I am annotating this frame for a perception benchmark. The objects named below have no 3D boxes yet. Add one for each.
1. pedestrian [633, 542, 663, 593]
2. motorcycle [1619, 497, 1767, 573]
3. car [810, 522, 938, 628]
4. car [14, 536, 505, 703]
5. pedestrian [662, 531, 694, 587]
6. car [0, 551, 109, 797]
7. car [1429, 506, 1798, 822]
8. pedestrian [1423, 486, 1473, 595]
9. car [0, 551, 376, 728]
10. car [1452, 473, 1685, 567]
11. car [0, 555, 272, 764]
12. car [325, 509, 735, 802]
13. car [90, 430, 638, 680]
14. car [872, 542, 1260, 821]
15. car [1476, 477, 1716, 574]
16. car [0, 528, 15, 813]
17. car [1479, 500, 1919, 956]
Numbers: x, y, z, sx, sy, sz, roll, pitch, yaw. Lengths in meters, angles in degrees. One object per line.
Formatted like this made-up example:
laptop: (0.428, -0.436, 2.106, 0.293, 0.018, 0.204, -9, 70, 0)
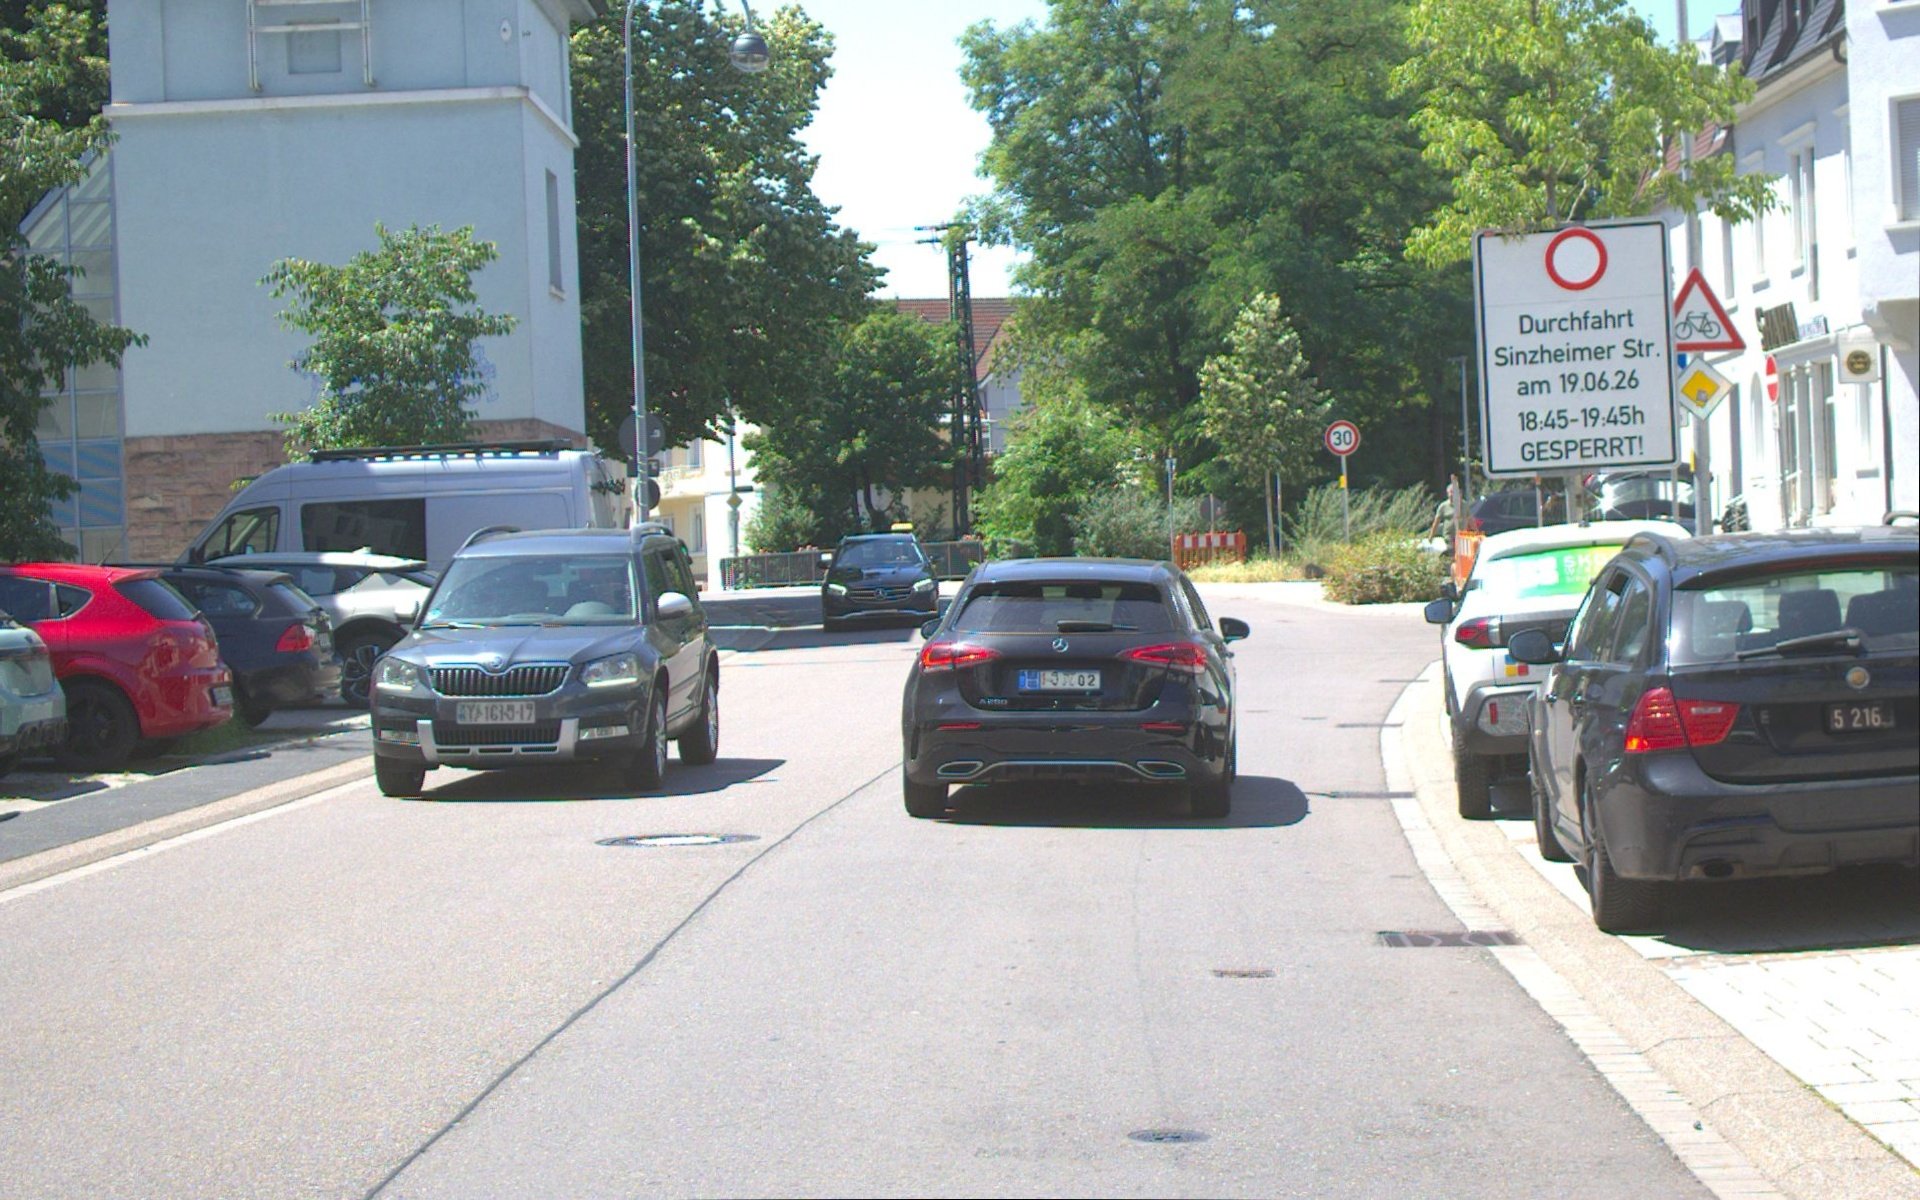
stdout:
pedestrian: (-9.918, -1.027, 109.137, 0.614, 1.607, 0.838, -2, 0, -28)
motorcycle: (12.710, -1.128, 59.672, 2.377, 1.271, 0.856, -1, 1, 2)
car: (-1.338, -0.440, 55.491, 1.893, 1.548, 4.799, -1, 2, 0)
car: (-6.946, 0.182, 34.398, 4.454, 1.586, 2.000, 0, 1, 2)
pedestrian: (-8.921, -1.288, 108.634, 0.661, 1.735, 0.702, -2, 0, -40)
car: (-7.763, 0.454, 22.063, 4.033, 1.491, 2.000, 0, 1, 5)
car: (3.574, 0.303, 19.411, 1.738, 1.481, 4.053, -4, 0, 8)
pedestrian: (8.219, -1.005, 57.870, 0.746, 1.790, 0.843, -2, 2, 10)
car: (-7.210, 0.317, 29.199, 4.199, 1.433, 1.886, 0, 1, -2)
car: (11.506, -1.503, 65.171, 4.075, 1.710, 1.856, -1, 1, 1)
car: (-7.209, 0.409, 24.731, 4.033, 1.425, 2.000, 0, 1, 5)
car: (-2.711, 0.314, 22.605, 1.811, 1.695, 4.075, -2, 0, 5)
car: (-6.727, -0.503, 39.242, 5.768, 2.723, 2.291, 0, 0, 3)
car: (0.720, 0.449, 20.001, 1.828, 1.437, 3.999, -1, -1, 8)
car: (11.677, -1.360, 63.277, 4.075, 1.710, 1.856, -1, 1, 1)
car: (-7.615, 0.429, 19.239, 4.033, 1.645, 2.000, 0, 1, 5)
car: (3.225, 0.410, 13.690, 1.833, 1.477, 4.095, -4, 0, 3)
